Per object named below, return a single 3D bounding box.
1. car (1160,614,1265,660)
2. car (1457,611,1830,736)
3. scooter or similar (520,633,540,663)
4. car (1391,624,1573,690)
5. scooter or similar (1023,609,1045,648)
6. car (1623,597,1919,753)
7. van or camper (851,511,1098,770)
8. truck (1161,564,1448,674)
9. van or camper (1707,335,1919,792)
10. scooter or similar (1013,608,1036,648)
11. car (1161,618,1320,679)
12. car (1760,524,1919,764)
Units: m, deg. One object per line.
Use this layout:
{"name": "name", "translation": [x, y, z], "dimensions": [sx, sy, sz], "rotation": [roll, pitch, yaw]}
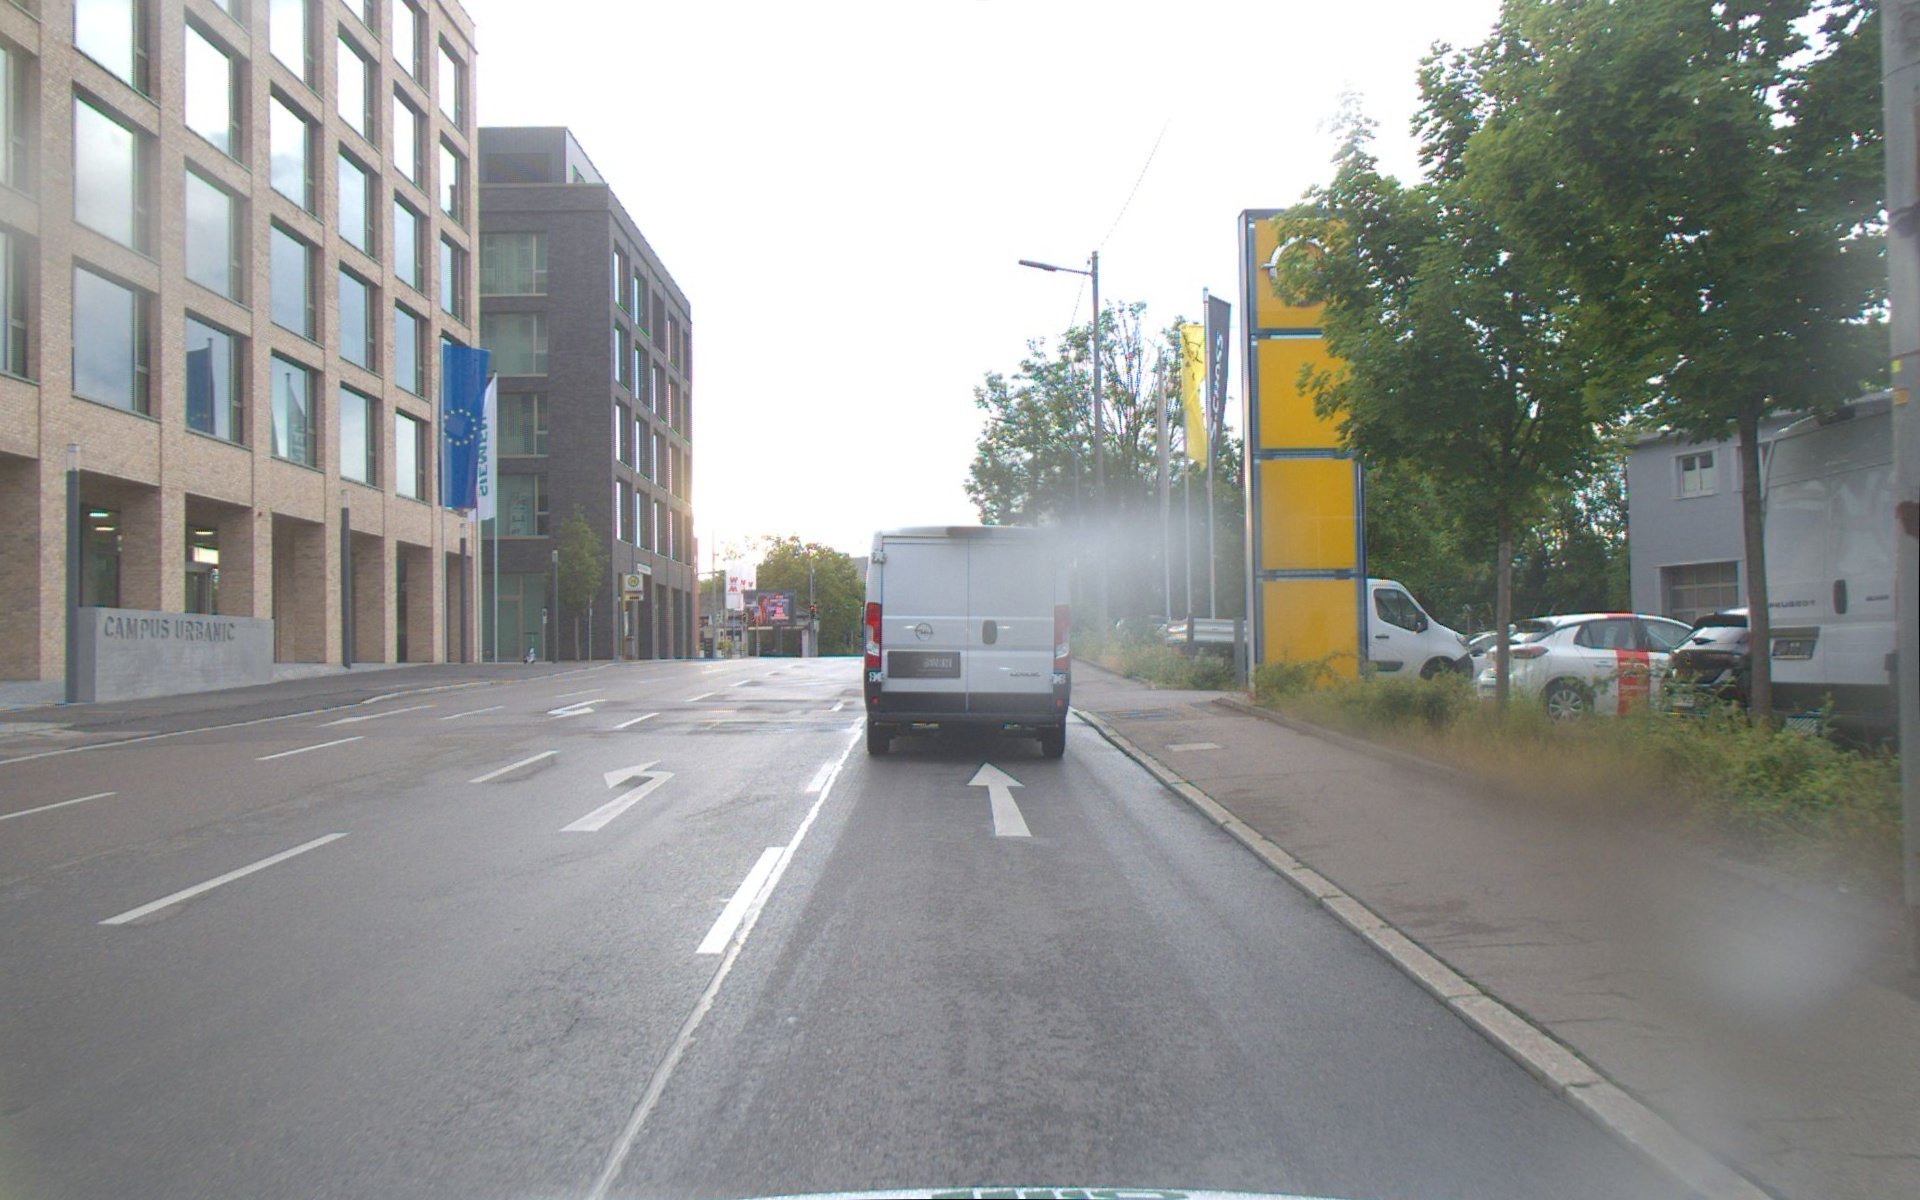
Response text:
{"name": "car", "translation": [10.395, 1.518, 68.244], "dimensions": [3.911, 1.548, 1.801], "rotation": [-4, 0, -6]}
{"name": "car", "translation": [8.465, 0.880, 20.740], "dimensions": [3.905, 1.453, 1.895], "rotation": [0, 0, 0]}
{"name": "scooter or similar", "translation": [-15.673, 1.745, 60.238], "dimensions": [0.343, 1.090, 1.428], "rotation": [0, -2, 0]}
{"name": "car", "translation": [11.707, 1.261, 37.270], "dimensions": [3.614, 1.443, 1.630], "rotation": [0, -1, 2]}
{"name": "scooter or similar", "translation": [3.068, 1.161, 68.540], "dimensions": [0.428, 1.592, 1.264], "rotation": [0, 0, -22]}
{"name": "car", "translation": [8.914, 0.753, 16.498], "dimensions": [3.905, 1.456, 1.747], "rotation": [0, -3, -1]}
{"name": "van or camper", "translation": [0.137, 0.375, 17.978], "dimensions": [2.292, 2.398, 5.199], "rotation": [0, 0, 0]}
{"name": "truck", "translation": [6.592, 0.359, 32.089], "dimensions": [5.045, 2.049, 2.344], "rotation": [0, 0, -3]}
{"name": "van or camper", "translation": [8.410, -0.216, 11.262], "dimensions": [5.620, 2.771, 2.351], "rotation": [0, 0, -1]}
{"name": "scooter or similar", "translation": [2.661, 1.148, 68.357], "dimensions": [0.428, 1.615, 1.264], "rotation": [0, 0, -23]}
{"name": "car", "translation": [7.587, 1.300, 44.965], "dimensions": [4.045, 1.617, 1.760], "rotation": [0, 0, -1]}
{"name": "car", "translation": [9.195, 0.389, 13.878], "dimensions": [4.042, 1.879, 1.842], "rotation": [0, -3, 1]}
